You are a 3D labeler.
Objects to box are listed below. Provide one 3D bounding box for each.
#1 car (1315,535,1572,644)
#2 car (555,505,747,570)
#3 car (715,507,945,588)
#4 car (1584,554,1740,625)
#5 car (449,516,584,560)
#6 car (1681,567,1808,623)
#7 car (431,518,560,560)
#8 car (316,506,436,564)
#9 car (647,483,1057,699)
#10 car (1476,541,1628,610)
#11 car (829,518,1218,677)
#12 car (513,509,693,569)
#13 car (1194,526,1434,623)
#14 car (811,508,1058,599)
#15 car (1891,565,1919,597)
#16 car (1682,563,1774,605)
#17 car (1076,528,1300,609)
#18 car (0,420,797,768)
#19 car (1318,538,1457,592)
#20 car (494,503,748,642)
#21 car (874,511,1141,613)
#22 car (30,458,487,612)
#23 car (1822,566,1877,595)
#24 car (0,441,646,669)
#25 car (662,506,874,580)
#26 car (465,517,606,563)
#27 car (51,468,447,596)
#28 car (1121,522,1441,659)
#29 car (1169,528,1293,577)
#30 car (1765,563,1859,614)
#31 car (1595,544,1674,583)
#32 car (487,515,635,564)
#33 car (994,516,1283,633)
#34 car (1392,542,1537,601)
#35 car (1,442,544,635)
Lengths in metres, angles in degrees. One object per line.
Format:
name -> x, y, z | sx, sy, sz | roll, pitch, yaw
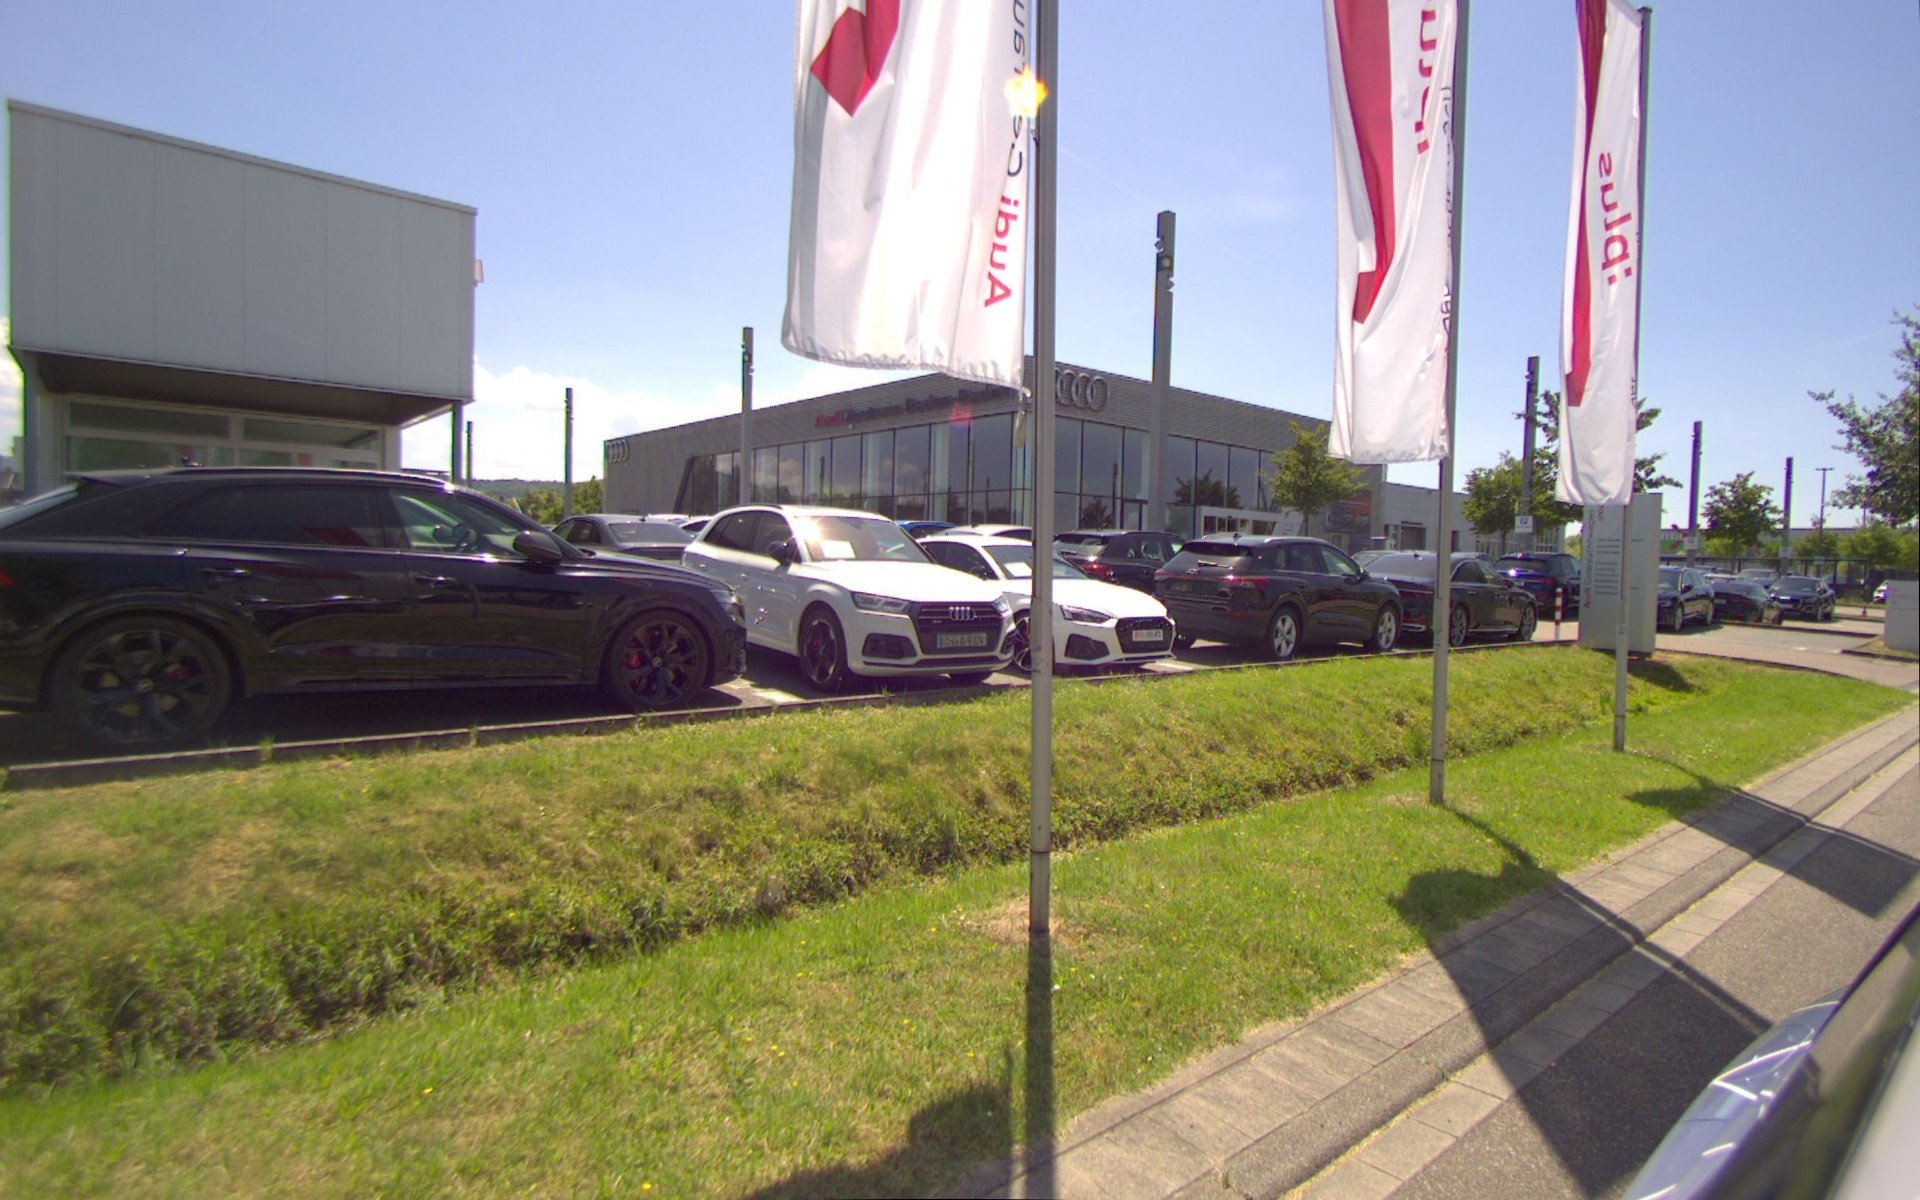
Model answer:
car -> 8.535, -0.227, 17.643 | 5.147, 1.532, 2.031 | -1, 6, -40
car -> -8.519, -1.702, 28.108 | 4.695, 1.609, 2.030 | -1, 4, -40
car -> -2.802, -1.141, 22.446 | 4.695, 1.609, 2.030 | -1, 4, -40
car -> 17.534, -0.335, 25.186 | 4.900, 1.473, 1.966 | -3, 6, -41
car -> -18.191, -2.546, 41.637 | 4.695, 1.609, 2.030 | -1, 4, -40
car -> 23.128, -0.142, 29.781 | 4.637, 1.382, 1.967 | 1, 5, -41
car -> -19.988, -2.613, 43.638 | 4.695, 1.609, 2.030 | -1, 4, -40
car -> -16.113, -1.728, 27.822 | 1.997, 1.432, 4.535 | -1, 2, -42
car -> -1.343, -0.244, 10.387 | 1.995, 1.713, 4.541 | 0, 4, -39
car -> 15.937, -0.728, 27.155 | 4.900, 1.616, 1.966 | -3, 6, -41
car -> 0.561, -0.170, 12.121 | 1.997, 1.474, 4.538 | -1, 5, -42
car -> -10.704, -1.820, 30.518 | 4.695, 1.609, 2.030 | -1, 4, -40
car -> 7.073, -0.514, 19.905 | 5.379, 1.591, 1.902 | -1, 6, -40
car -> -0.428, -0.918, 20.392 | 4.695, 1.609, 2.030 | -1, 4, -40
car -> 50.401, -0.973, 53.034 | 4.860, 1.546, 1.824 | -1, 5, -42
car -> 29.477, -0.612, 38.796 | 4.154, 1.382, 1.966 | -1, 6, -42
car -> 5.002, -0.682, 21.809 | 4.988, 1.473, 2.031 | -1, 6, -40
car -> -3.851, -0.113, 7.001 | 5.016, 1.713, 2.031 | 0, 4, -39
car -> 13.299, -1.148, 31.359 | 4.900, 1.473, 1.966 | -3, 6, -41
car -> -5.146, -0.513, 14.943 | 1.996, 1.713, 4.539 | 0, 4, -41
car -> 0.950, -0.690, 18.419 | 4.695, 1.609, 2.030 | -1, 4, -40
car -> -9.113, -0.808, 13.511 | 4.722, 1.699, 2.031 | 0, 4, -39
car -> 55.822, -1.210, 63.478 | 4.547, 1.649, 1.966 | -1, 5, -42
car -> -5.645, -0.407, 9.512 | 4.722, 1.629, 2.031 | 0, 4, -39
car -> -4.597, -1.356, 24.658 | 4.697, 1.609, 2.029 | -1, 4, -42
car -> -16.554, -2.343, 39.615 | 4.695, 1.609, 2.030 | -1, 4, -40
car -> -10.715, -0.981, 15.553 | 4.722, 1.674, 2.031 | 0, 4, -39
car -> 4.616, -0.190, 14.206 | 4.695, 1.592, 2.030 | -1, 4, -40
car -> 10.062, -1.790, 37.433 | 4.900, 1.639, 1.966 | -3, 6, -41
car -> 30.762, -0.439, 36.509 | 4.154, 1.589, 1.892 | -1, 6, -42
car -> 31.233, -1.668, 46.836 | 4.215, 1.632, 1.966 | -1, 5, -42
car -> -14.646, -2.215, 37.288 | 4.695, 1.609, 2.030 | -1, 4, -40
car -> 2.982, -0.435, 16.346 | 4.695, 1.609, 2.030 | -1, 4, -40
car -> 14.643, -0.893, 29.242 | 4.900, 1.473, 1.966 | -3, 6, -41
car -> -7.455, -0.643, 11.429 | 4.722, 1.746, 2.031 | 0, 4, -39
